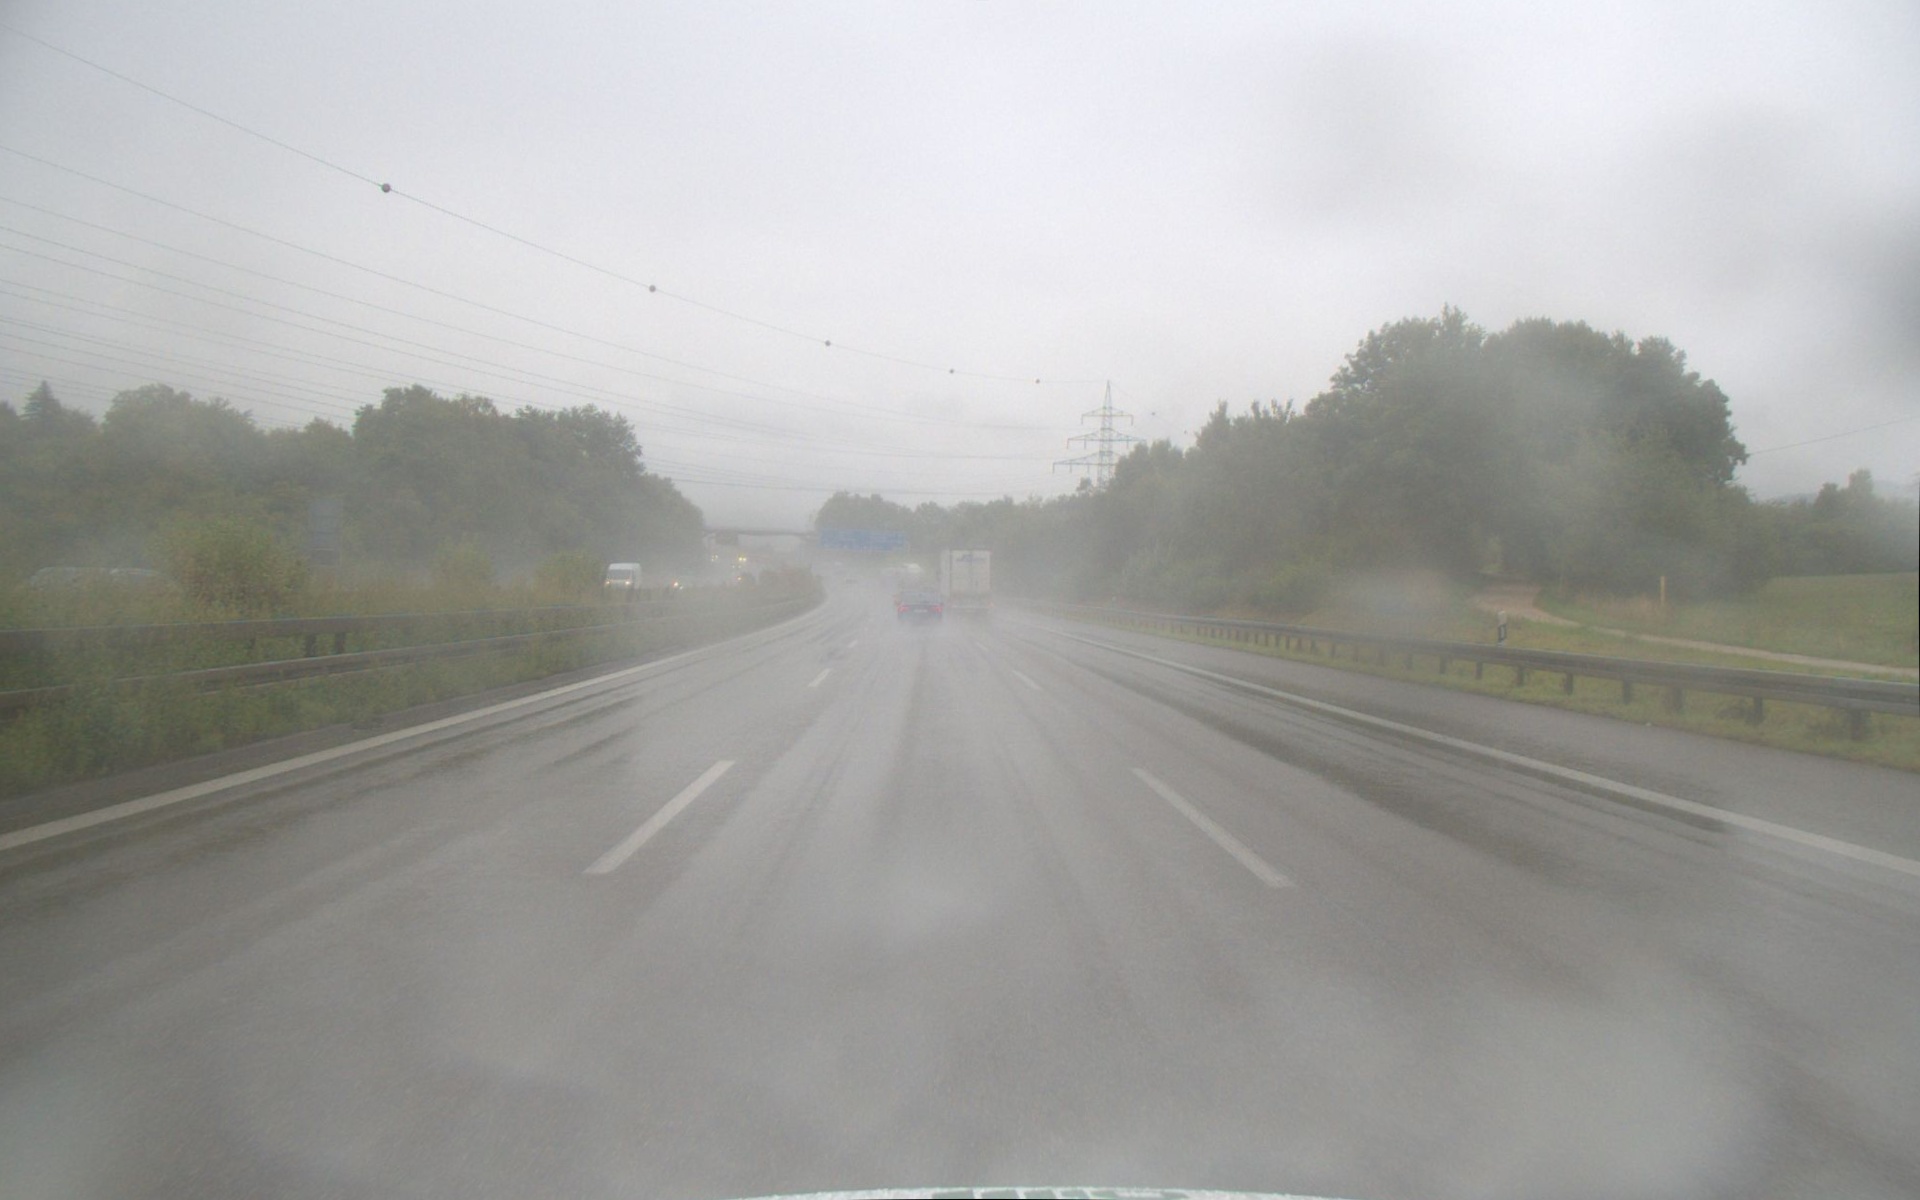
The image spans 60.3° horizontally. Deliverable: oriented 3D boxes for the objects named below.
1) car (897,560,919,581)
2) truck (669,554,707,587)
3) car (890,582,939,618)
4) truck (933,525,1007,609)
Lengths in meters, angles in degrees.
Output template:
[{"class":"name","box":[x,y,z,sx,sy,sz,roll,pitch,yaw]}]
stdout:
[{"class":"car","box":[-6.110,-3.444,193.607,2.345,2.312,5.000,3,1,-3]},{"class":"truck","box":[-29.052,-3.140,176.987,3.008,3.333,7.388,4,0,-3]},{"class":"car","box":[-1.747,-0.018,64.647,1.713,1.233,4.000,3,0,1]},{"class":"truck","box":[0.833,-2.110,108.186,4.168,5.059,17.347,0,1,2]}]
